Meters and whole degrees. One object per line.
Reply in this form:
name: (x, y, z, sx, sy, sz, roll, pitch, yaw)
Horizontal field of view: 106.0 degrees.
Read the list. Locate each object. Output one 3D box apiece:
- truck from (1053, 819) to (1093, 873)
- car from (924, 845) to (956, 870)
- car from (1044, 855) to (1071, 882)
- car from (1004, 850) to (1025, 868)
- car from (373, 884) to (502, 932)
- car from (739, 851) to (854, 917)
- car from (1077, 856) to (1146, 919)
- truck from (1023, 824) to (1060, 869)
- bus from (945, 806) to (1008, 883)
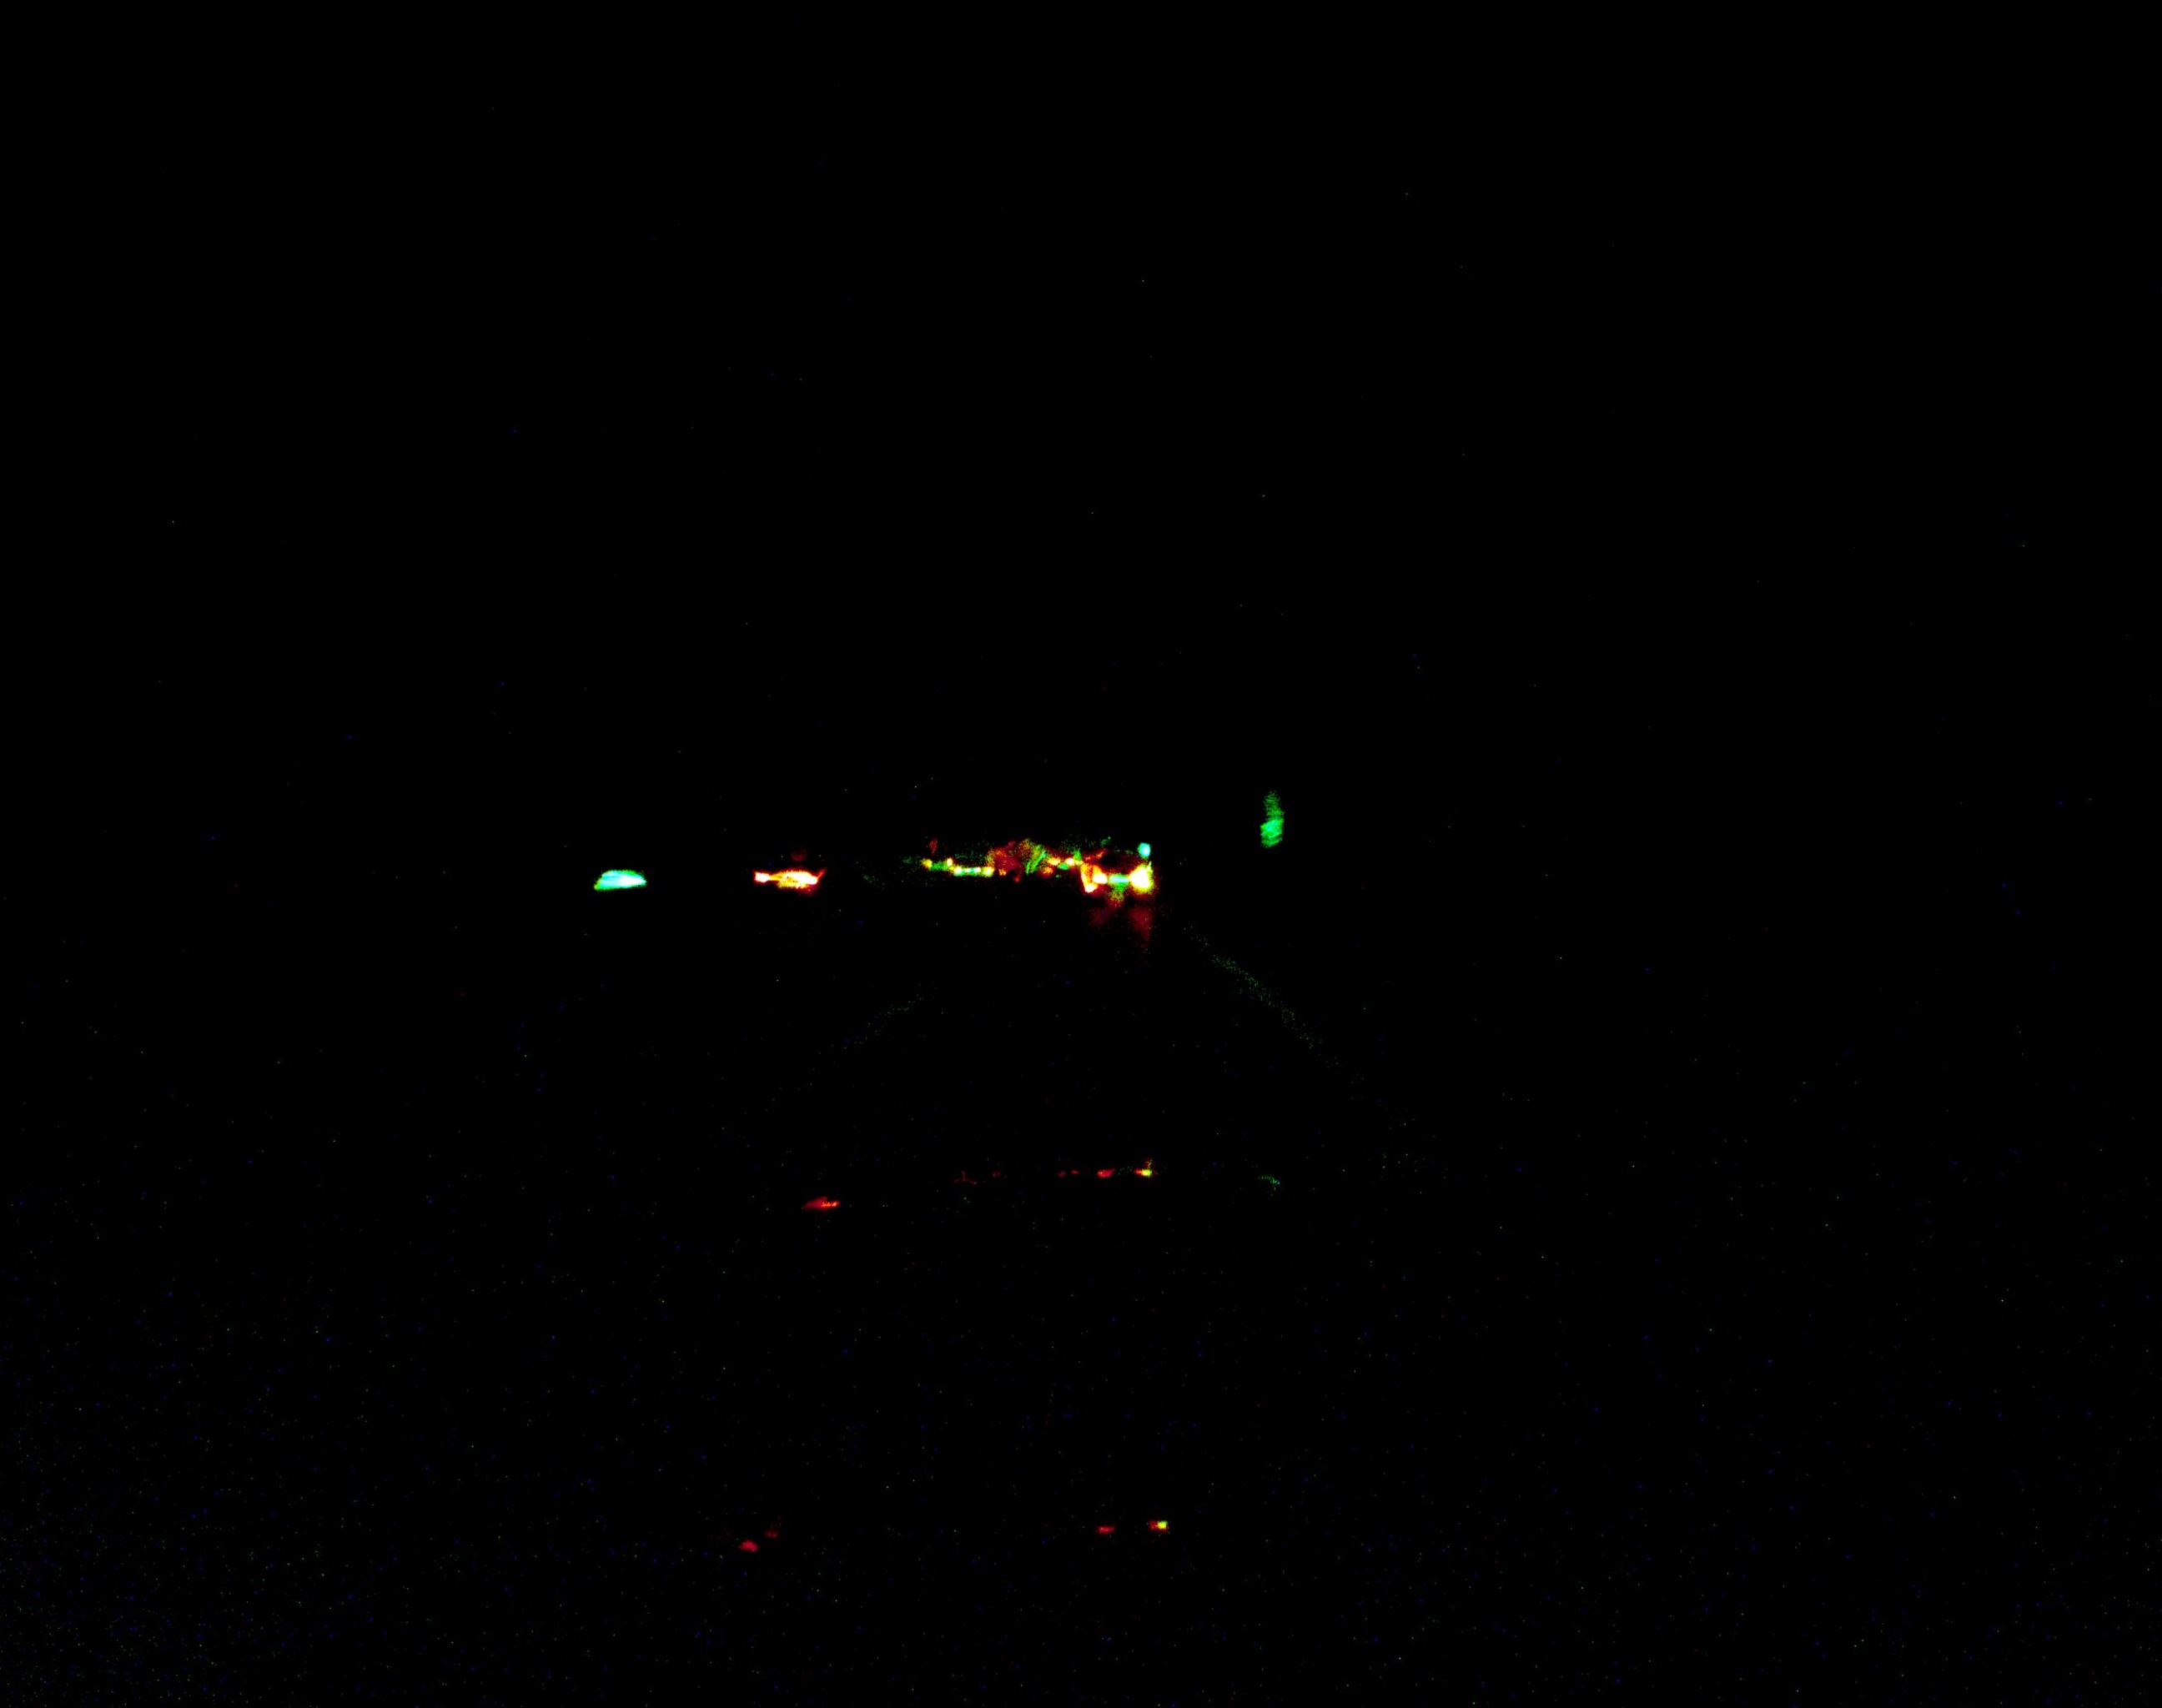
truck: (-0.755, -0.750, 91.135, 4.196, 5.648, 11.467, 0, -1, 1)
car: (-10.387, 0.251, 60.228, 1.990, 1.794, 3.992, 0, -1, -5)
car: (-1.834, 1.143, 64.532, 2.120, 2.014, 4.643, 0, -1, -1)
car: (-7.088, 0.551, 87.461, 1.988, 1.807, 3.997, 0, -1, -2)
car: (-26.905, 2.206, 34.284, 1.874, 1.721, 4.560, 0, -1, -1)
car: (-7.518, 0.756, 21.933, 1.990, 1.596, 3.992, 0, -1, -5)
car: (0.928, 0.981, 25.637, 1.986, 1.807, 4.001, 0, -1, 1)
truck: (-5.052, -0.901, 106.773, 4.196, 5.648, 11.467, 0, -1, 1)
bus: (-6.683, -0.532, 53.639, 3.089, 4.508, 10.903, 0, -1, -2)
